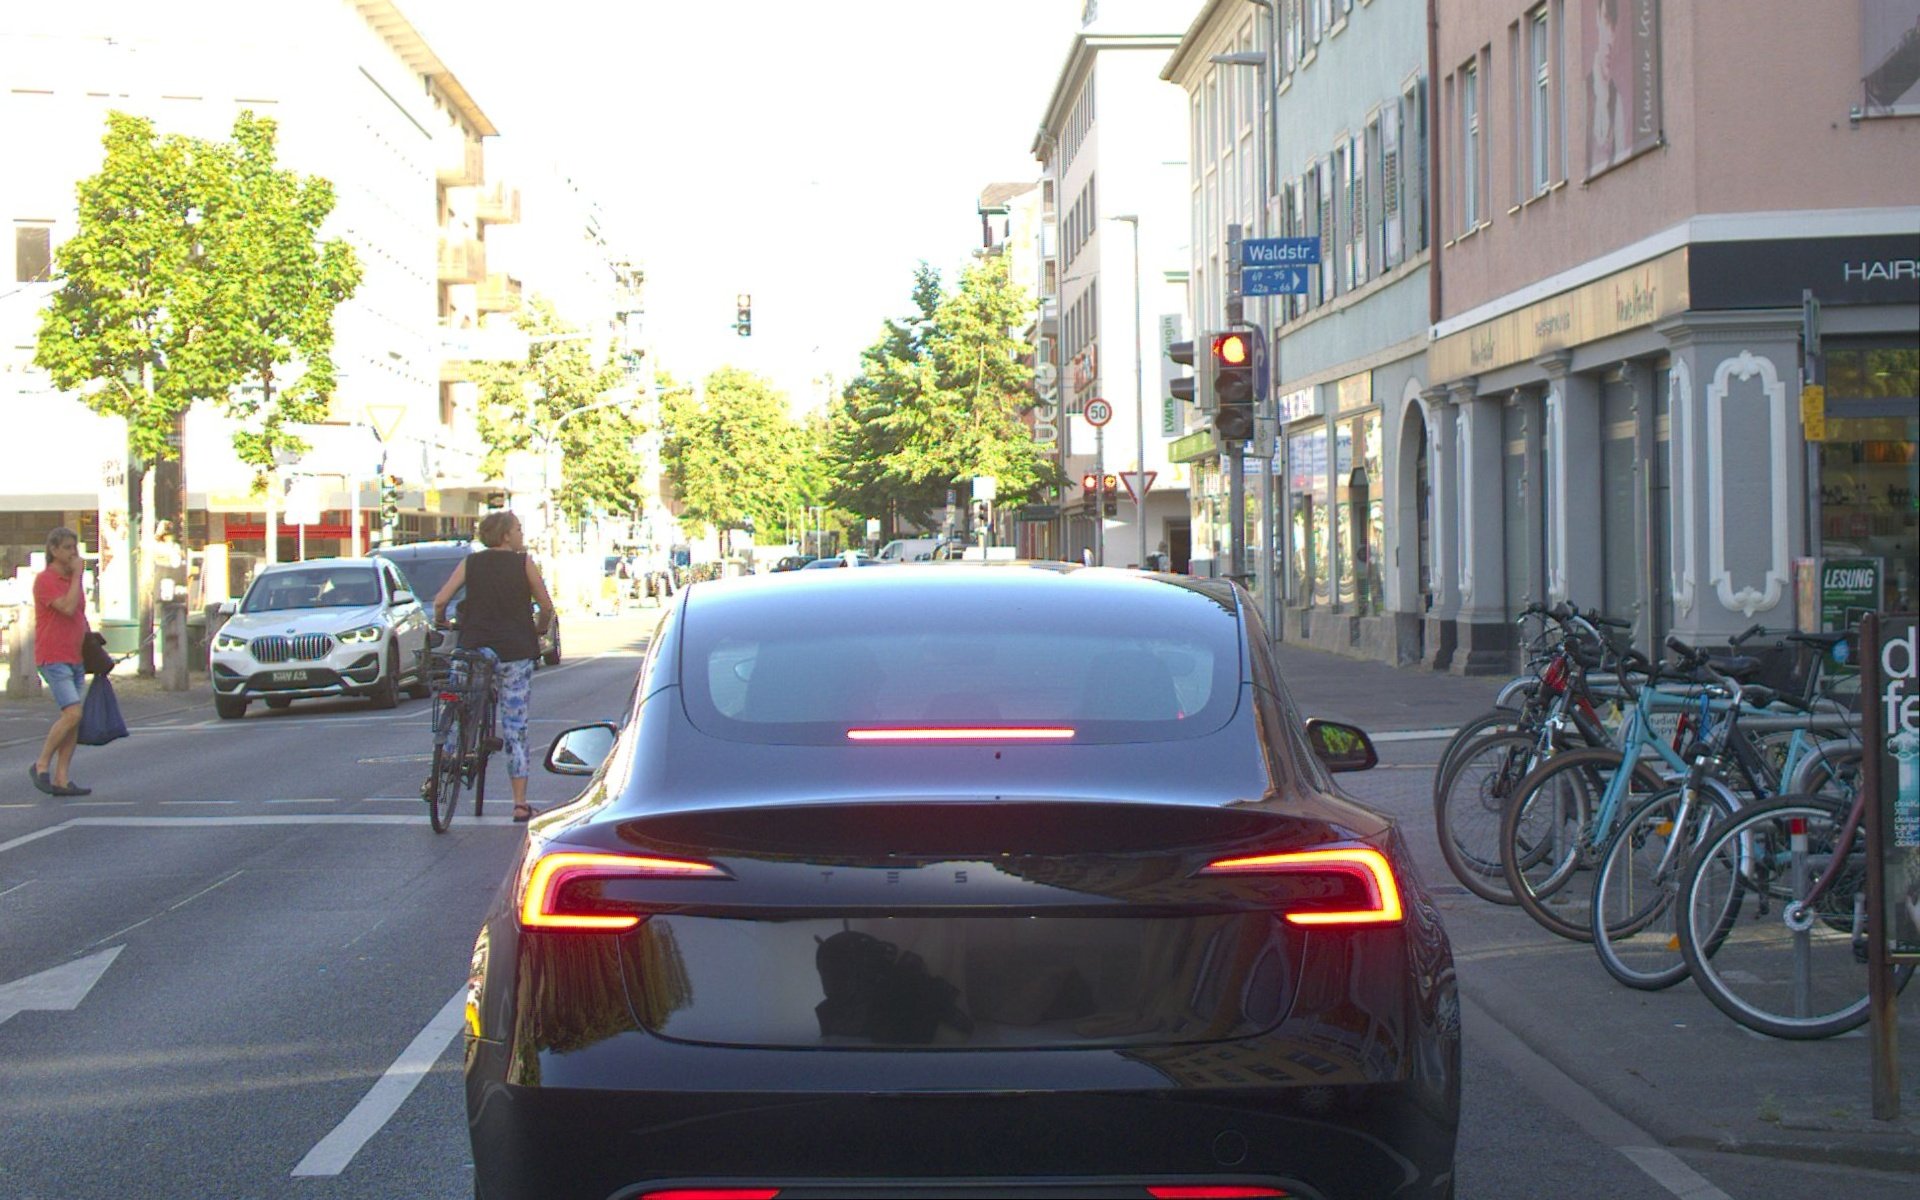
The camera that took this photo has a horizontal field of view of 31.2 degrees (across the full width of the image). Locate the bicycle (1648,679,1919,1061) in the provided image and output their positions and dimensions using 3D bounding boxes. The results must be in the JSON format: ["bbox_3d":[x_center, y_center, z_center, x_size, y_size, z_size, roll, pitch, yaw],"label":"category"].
[{"bbox_3d":[3.026,0.762,10.047,1.882,1.040,0.653,-1,1,1],"label":"bicycle"}]

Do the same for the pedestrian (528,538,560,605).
[{"bbox_3d":[-11.736,-0.810,96.980,0.732,1.861,0.791,1,0,-17],"label":"pedestrian"}]

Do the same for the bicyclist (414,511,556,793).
[{"bbox_3d":[-2.565,0.271,18.628,0.606,1.479,0.958,1,0,1],"label":"bicyclist"}]

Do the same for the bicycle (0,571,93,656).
[{"bbox_3d":[-14.531,0.194,52.138,2.542,1.247,0.943,1,0,-3],"label":"bicycle"}]

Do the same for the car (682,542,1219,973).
[{"bbox_3d":[-0.060,0.527,14.195,1.850,1.476,4.452,1,1,-1],"label":"car"}]

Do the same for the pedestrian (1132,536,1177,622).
[{"bbox_3d":[3.967,-0.430,70.188,0.658,1.754,0.654,1,0,-24],"label":"pedestrian"}]

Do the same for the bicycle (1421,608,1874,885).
[{"bbox_3d":[2.923,0.615,14.733,1.813,1.148,0.653,0,1,1],"label":"bicycle"}]

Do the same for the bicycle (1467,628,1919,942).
[{"bbox_3d":[2.800,0.659,12.525,1.813,1.098,0.653,0,1,1],"label":"bicycle"}]

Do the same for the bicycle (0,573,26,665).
[{"bbox_3d":[-14.485,0.239,47.544,2.875,1.266,0.943,1,0,-3],"label":"bicycle"}]

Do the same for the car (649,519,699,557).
[{"bbox_3d":[-15.636,-3.361,188.278,2.275,2.007,4.717,1,1,1],"label":"car"}]

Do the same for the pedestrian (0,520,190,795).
[{"bbox_3d":[-5.745,0.351,22.152,1.111,1.714,1.060,1,0,20],"label":"pedestrian"}]

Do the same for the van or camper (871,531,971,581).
[{"bbox_3d":[-1.890,-2.140,167.545,4.850,2.430,1.851,0,1,-1],"label":"van or camper"}]

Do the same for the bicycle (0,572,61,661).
[{"bbox_3d":[-14.486,0.221,49.863,2.662,1.255,0.943,1,0,-3],"label":"bicycle"}]

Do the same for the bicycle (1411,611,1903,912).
[{"bbox_3d":[2.731,0.623,13.598,1.813,1.148,0.653,0,1,1],"label":"bicycle"}]

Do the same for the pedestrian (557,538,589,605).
[{"bbox_3d":[-10.940,-0.800,97.117,0.732,1.861,0.791,1,0,-17],"label":"pedestrian"}]

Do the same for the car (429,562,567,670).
[{"bbox_3d":[-6.652,0.208,49.794,1.461,1.425,3.606,-4,1,-1],"label":"car"}]

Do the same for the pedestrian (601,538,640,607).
[{"bbox_3d":[-9.337,-0.752,94.481,0.734,1.861,0.789,1,0,28],"label":"pedestrian"}]

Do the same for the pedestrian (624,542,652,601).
[{"bbox_3d":[-10.243,-0.915,109.373,0.694,1.861,0.910,1,0,-18],"label":"pedestrian"}]

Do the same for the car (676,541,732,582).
[{"bbox_3d":[-12.384,-1.874,166.449,2.414,1.963,4.678,0,1,-1],"label":"car"}]

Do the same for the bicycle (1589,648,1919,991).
[{"bbox_3d":[3.000,0.695,11.118,1.813,1.056,0.653,0,1,1],"label":"bicycle"}]

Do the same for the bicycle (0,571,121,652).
[{"bbox_3d":[-14.692,0.167,54.562,2.542,1.247,0.943,1,0,-3],"label":"bicycle"}]

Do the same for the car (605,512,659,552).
[{"bbox_3d":[-17.113,-3.541,179.639,2.275,2.007,4.717,1,1,1],"label":"car"}]

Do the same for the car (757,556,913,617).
[{"bbox_3d":[-2.923,-0.319,80.878,1.697,1.385,3.908,1,1,34],"label":"car"}]

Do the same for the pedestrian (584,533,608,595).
[{"bbox_3d":[-10.990,-1.074,103.876,0.695,1.861,0.659,1,0,-5],"label":"pedestrian"}]

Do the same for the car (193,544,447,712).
[{"bbox_3d":[-6.686,0.258,36.337,1.825,1.559,4.301,-4,1,-1],"label":"car"}]

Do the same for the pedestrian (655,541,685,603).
[{"bbox_3d":[-8.911,-0.857,105.460,0.774,1.861,1.009,1,0,-12],"label":"pedestrian"}]

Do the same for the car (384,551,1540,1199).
[{"bbox_3d":[-0.024,0.632,7.770,1.850,1.442,4.452,1,1,-1],"label":"car"}]

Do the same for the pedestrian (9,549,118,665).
[{"bbox_3d":[-12.681,0.094,48.660,1.093,1.606,1.266,1,0,7],"label":"pedestrian"}]

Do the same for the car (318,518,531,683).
[{"bbox_3d":[-6.571,-0.032,42.660,1.945,1.940,4.820,0,1,-1],"label":"car"}]

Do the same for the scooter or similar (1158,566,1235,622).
[{"bbox_3d":[4.864,-0.121,70.627,1.333,1.131,0.810,1,0,-24],"label":"scooter or similar"}]

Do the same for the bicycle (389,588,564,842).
[{"bbox_3d":[-2.581,0.584,18.521,0.628,1.218,2.001,1,2,1],"label":"bicycle"}]

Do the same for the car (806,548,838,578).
[{"bbox_3d":[-8.458,-2.249,210.574,1.892,1.807,3.925,1,1,-2],"label":"car"}]

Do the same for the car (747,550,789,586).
[{"bbox_3d":[-10.430,-1.747,187.131,2.132,1.963,4.134,0,1,-1],"label":"car"}]
